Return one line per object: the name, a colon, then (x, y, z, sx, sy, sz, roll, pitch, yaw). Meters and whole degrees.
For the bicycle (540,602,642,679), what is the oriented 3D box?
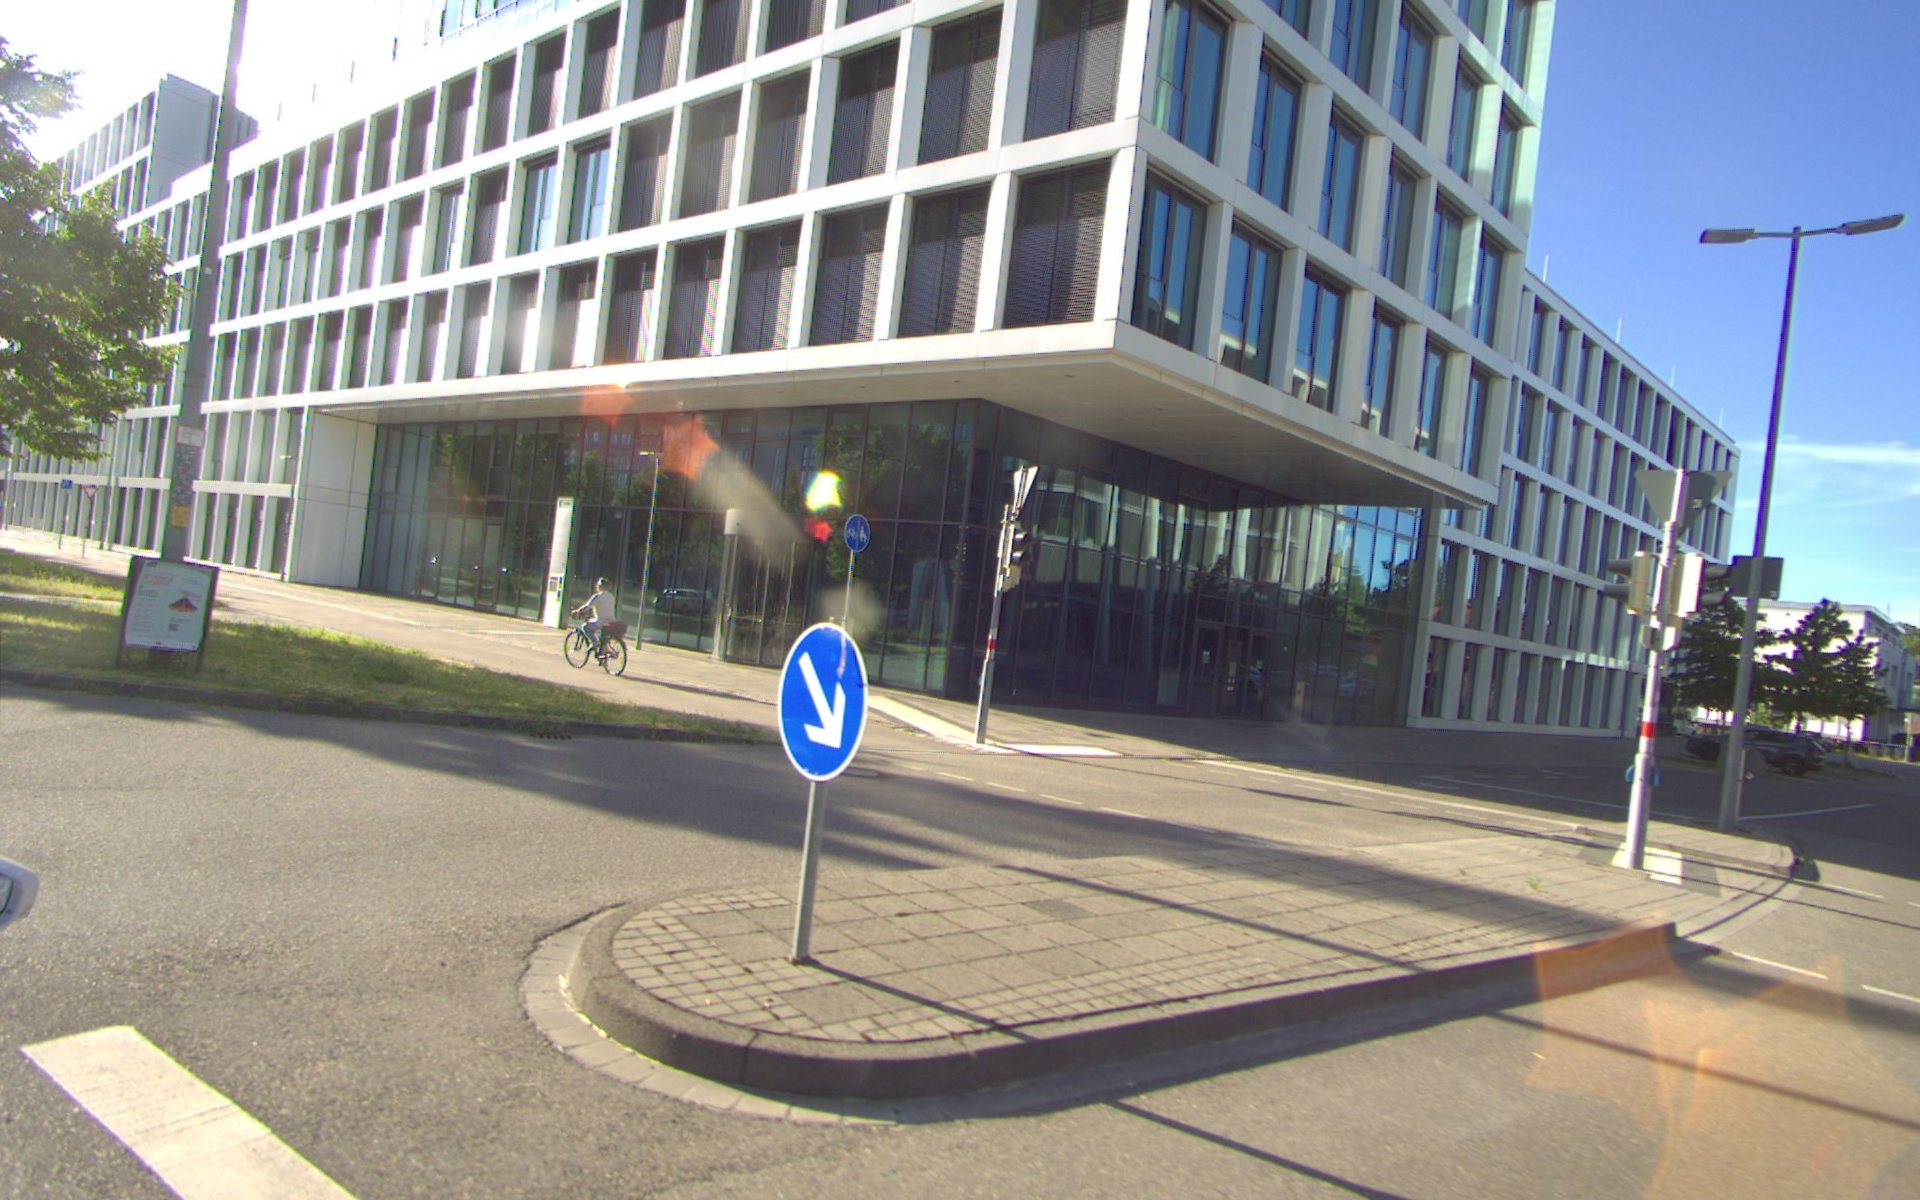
bicycle: (-6.875, 0.738, 18.714, 1.931, 1.188, 0.741, 6, 0, 37)

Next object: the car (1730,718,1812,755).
car: (56.419, 9.481, 70.031, 1.855, 1.815, 4.085, 7, -1, -39)

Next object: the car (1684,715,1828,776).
car: (32.206, 5.869, 40.796, 1.648, 1.734, 4.246, 7, -1, -41)

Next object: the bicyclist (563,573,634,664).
bicyclist: (-6.680, 0.344, 18.589, 0.837, 1.550, 0.771, 7, 0, 37)
